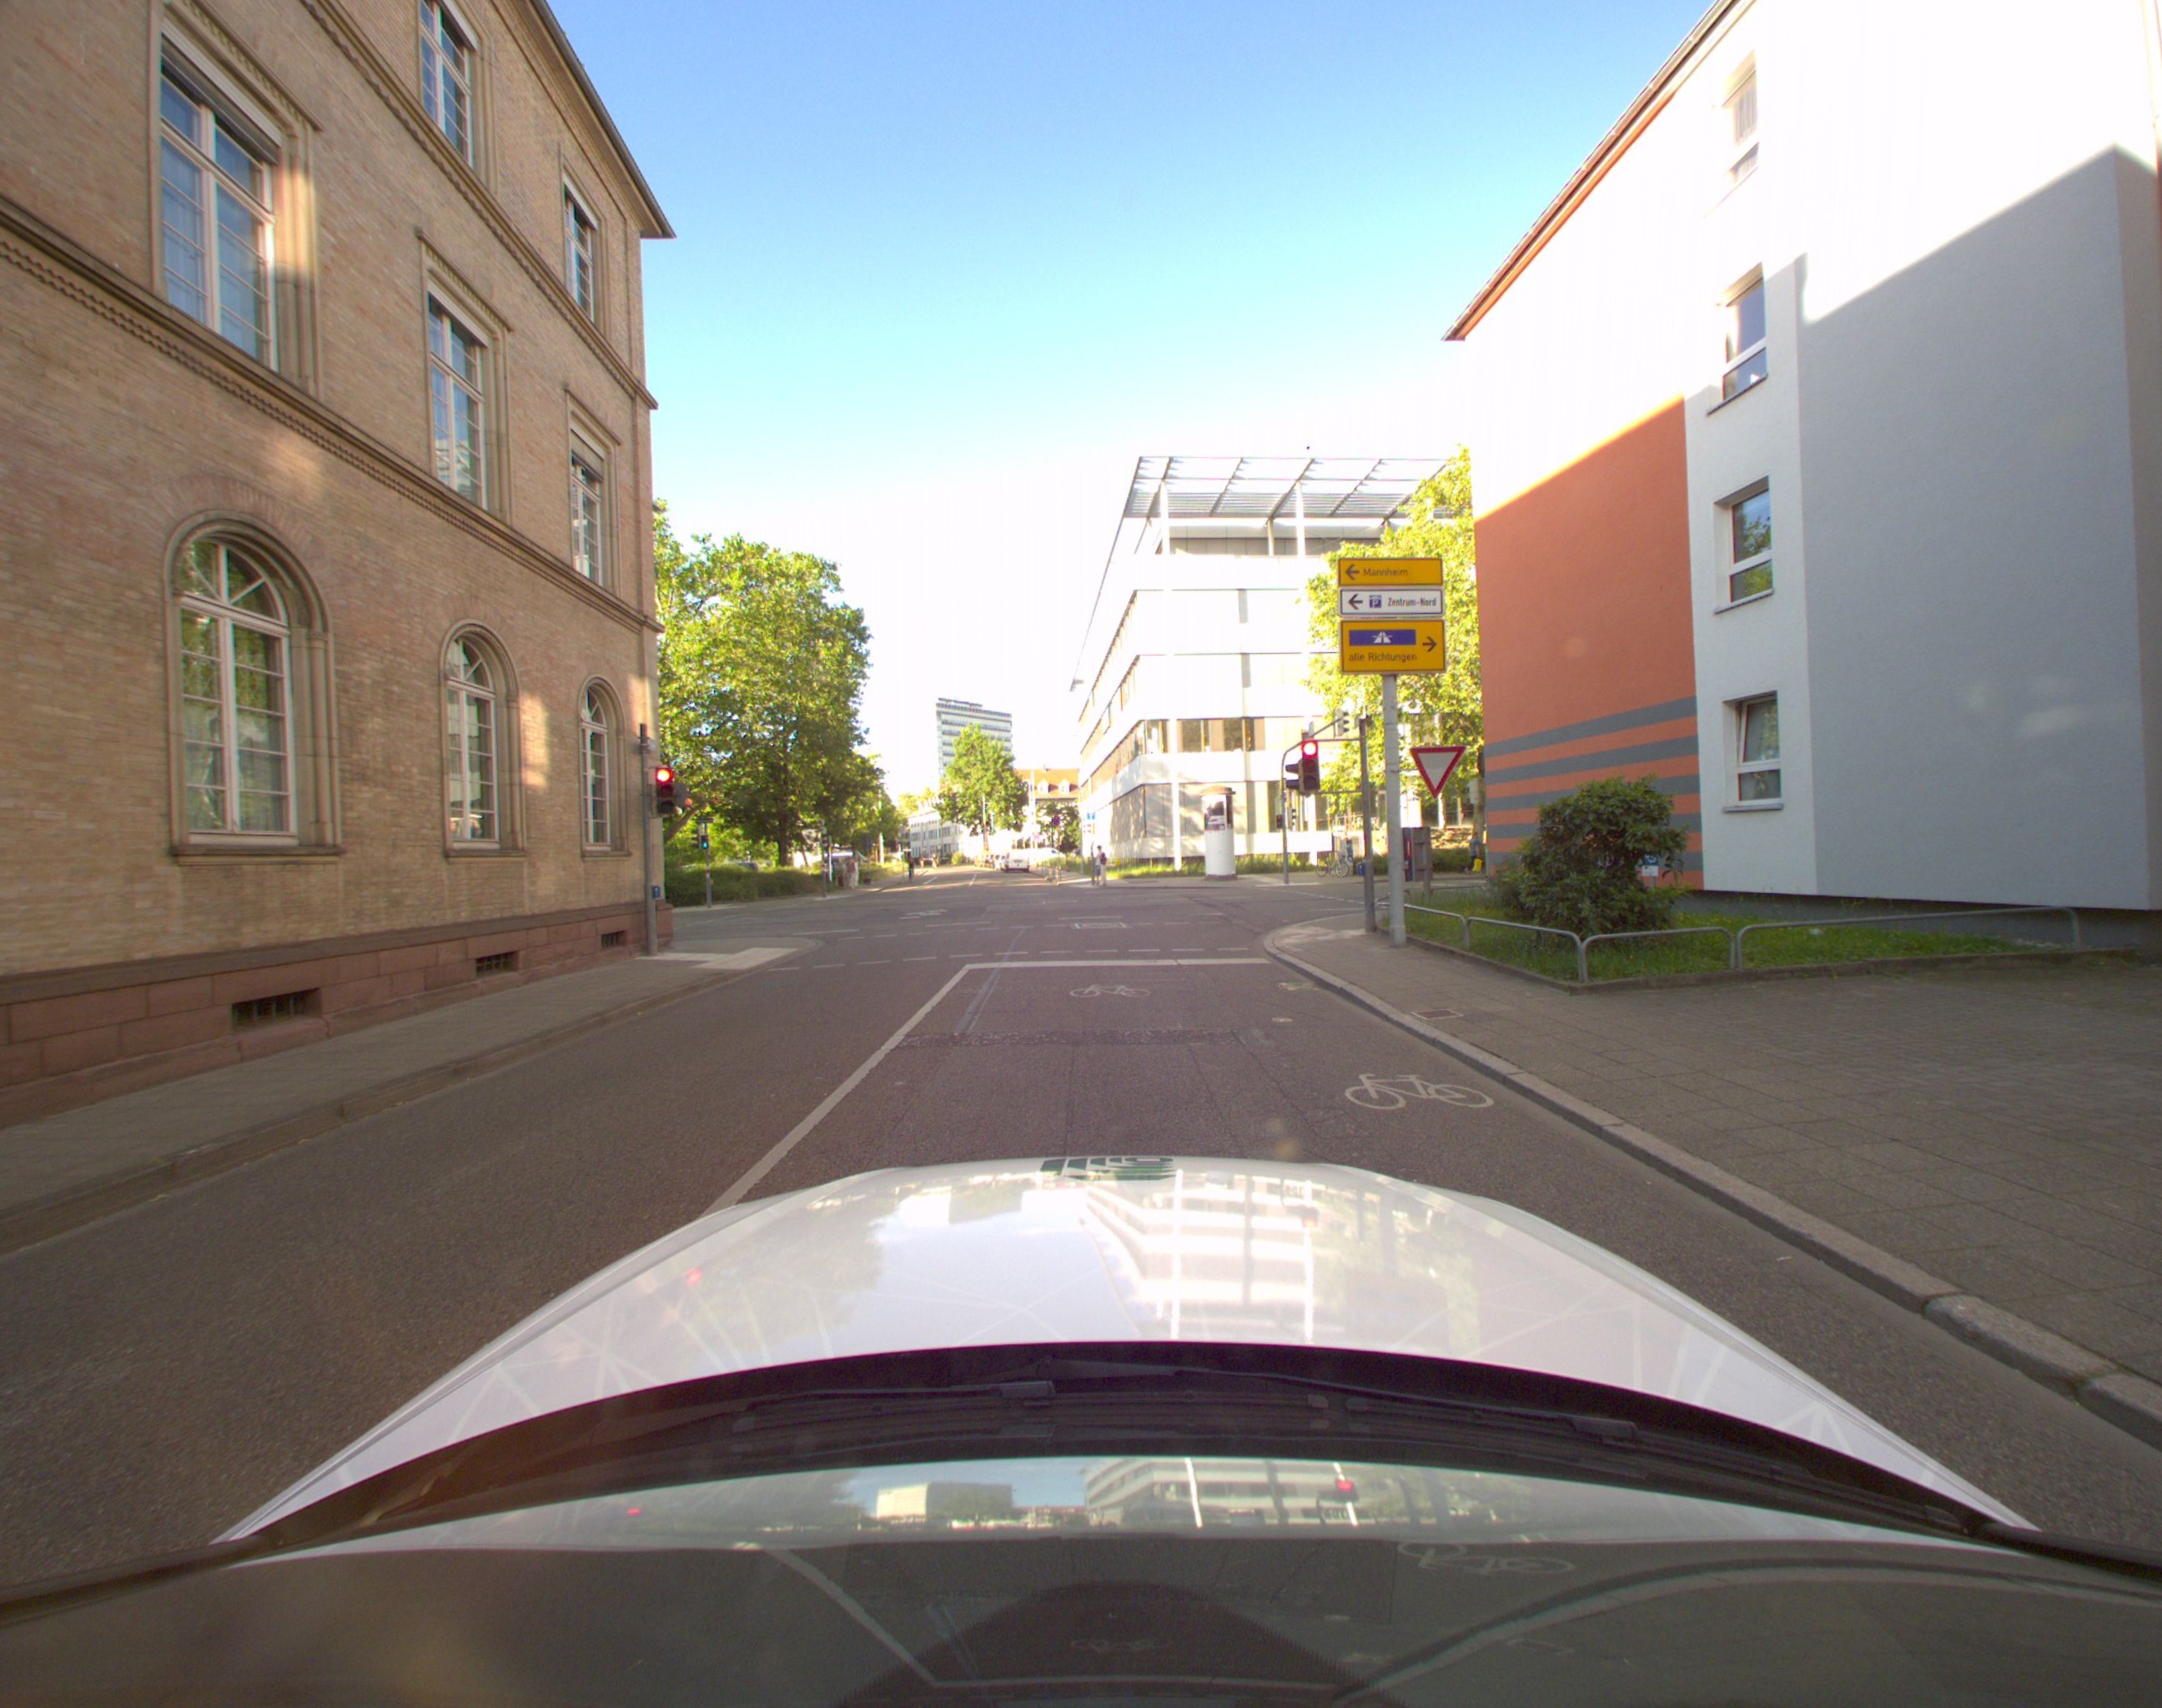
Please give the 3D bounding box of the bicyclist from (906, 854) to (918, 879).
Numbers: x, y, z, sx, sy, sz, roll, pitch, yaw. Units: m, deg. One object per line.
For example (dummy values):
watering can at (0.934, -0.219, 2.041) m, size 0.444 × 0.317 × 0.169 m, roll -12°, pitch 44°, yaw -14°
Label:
bicyclist at (-10.801, 0.801, 52.148) m, size 0.615 × 1.532 × 0.901 m, roll -3°, pitch 0°, yaw -7°

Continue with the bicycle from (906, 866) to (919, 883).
bicycle at (-10.810, 1.311, 52.311) m, size 0.615 × 0.969 × 1.837 m, roll -3°, pitch 0°, yaw -7°

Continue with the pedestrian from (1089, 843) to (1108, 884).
pedestrian at (0.830, 0.446, 37.956) m, size 0.555 × 1.850 × 0.680 m, roll -5°, pitch 1°, yaw 18°

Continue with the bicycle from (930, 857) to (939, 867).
bicycle at (-16.488, 0.898, 91.439) m, size 0.866 × 1.009 × 2.406 m, roll -5°, pitch 0°, yaw -10°

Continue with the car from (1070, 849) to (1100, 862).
car at (0.501, 0.169, 104.455) m, size 3.563 × 1.546 × 1.549 m, roll -2°, pitch 0°, yaw -17°

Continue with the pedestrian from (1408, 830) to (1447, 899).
pedestrian at (9.356, 0.276, 21.989) m, size 0.704 × 1.840 × 0.837 m, roll 0°, pitch 0°, yaw 1°

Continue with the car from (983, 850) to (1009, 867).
car at (-9.030, 0.431, 85.989) m, size 1.893 × 1.655 × 4.390 m, roll -2°, pitch 1°, yaw -16°

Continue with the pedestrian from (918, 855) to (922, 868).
pedestrian at (-20.561, 0.917, 104.063) m, size 0.435 × 1.607 × 0.489 m, roll -2°, pitch 0°, yaw -24°

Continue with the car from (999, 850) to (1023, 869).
car at (-6.338, 0.501, 73.294) m, size 1.887 × 1.555 × 4.403 m, roll -2°, pitch 1°, yaw -8°

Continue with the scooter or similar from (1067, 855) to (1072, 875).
scooter or similar at (-0.830, 0.756, 58.771) m, size 0.329 × 1.424 × 1.333 m, roll 0°, pitch -1°, yaw -4°

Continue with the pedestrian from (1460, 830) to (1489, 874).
pedestrian at (16.517, -0.094, 34.208) m, size 0.834 × 1.840 × 0.707 m, roll 0°, pitch 0°, yaw -8°

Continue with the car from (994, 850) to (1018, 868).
car at (-7.272, 0.475, 78.692) m, size 1.889 × 1.555 × 4.398 m, roll -2°, pitch 1°, yaw -11°

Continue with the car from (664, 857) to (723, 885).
car at (-37.172, 1.619, 78.141) m, size 4.551 × 2.391 × 2.069 m, roll -3°, pitch 0°, yaw -7°

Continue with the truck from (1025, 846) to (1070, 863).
truck at (-4.250, 0.067, 103.384) m, size 5.351 × 2.013 × 1.988 m, roll -2°, pitch 0°, yaw -17°

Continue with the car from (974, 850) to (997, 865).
car at (-11.280, 0.423, 95.987) m, size 1.893 × 1.655 × 4.390 m, roll -2°, pitch 1°, yaw -16°

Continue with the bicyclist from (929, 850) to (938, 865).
bicyclist at (-16.522, 0.390, 91.456) m, size 0.866 × 1.515 × 1.016 m, roll -5°, pitch 0°, yaw -10°

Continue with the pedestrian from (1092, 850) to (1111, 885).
pedestrian at (0.922, 0.605, 37.347) m, size 0.561 × 1.540 × 0.673 m, roll -5°, pitch 1°, yaw -16°

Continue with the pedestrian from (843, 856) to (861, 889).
pedestrian at (-12.294, 0.988, 43.727) m, size 0.702 × 1.723 × 0.952 m, roll -3°, pitch 0°, yaw -7°

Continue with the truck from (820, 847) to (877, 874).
truck at (-21.613, 0.586, 75.851) m, size 4.825 × 2.399 × 2.082 m, roll -2°, pitch 0°, yaw -8°

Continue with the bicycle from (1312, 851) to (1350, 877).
bicycle at (11.027, 0.419, 35.937) m, size 0.510 × 1.049 × 1.670 m, roll -4°, pitch 3°, yaw -33°

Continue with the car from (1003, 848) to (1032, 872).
car at (-5.105, 0.447, 65.047) m, size 2.084 × 1.795 × 4.403 m, roll -2°, pitch 1°, yaw -8°
